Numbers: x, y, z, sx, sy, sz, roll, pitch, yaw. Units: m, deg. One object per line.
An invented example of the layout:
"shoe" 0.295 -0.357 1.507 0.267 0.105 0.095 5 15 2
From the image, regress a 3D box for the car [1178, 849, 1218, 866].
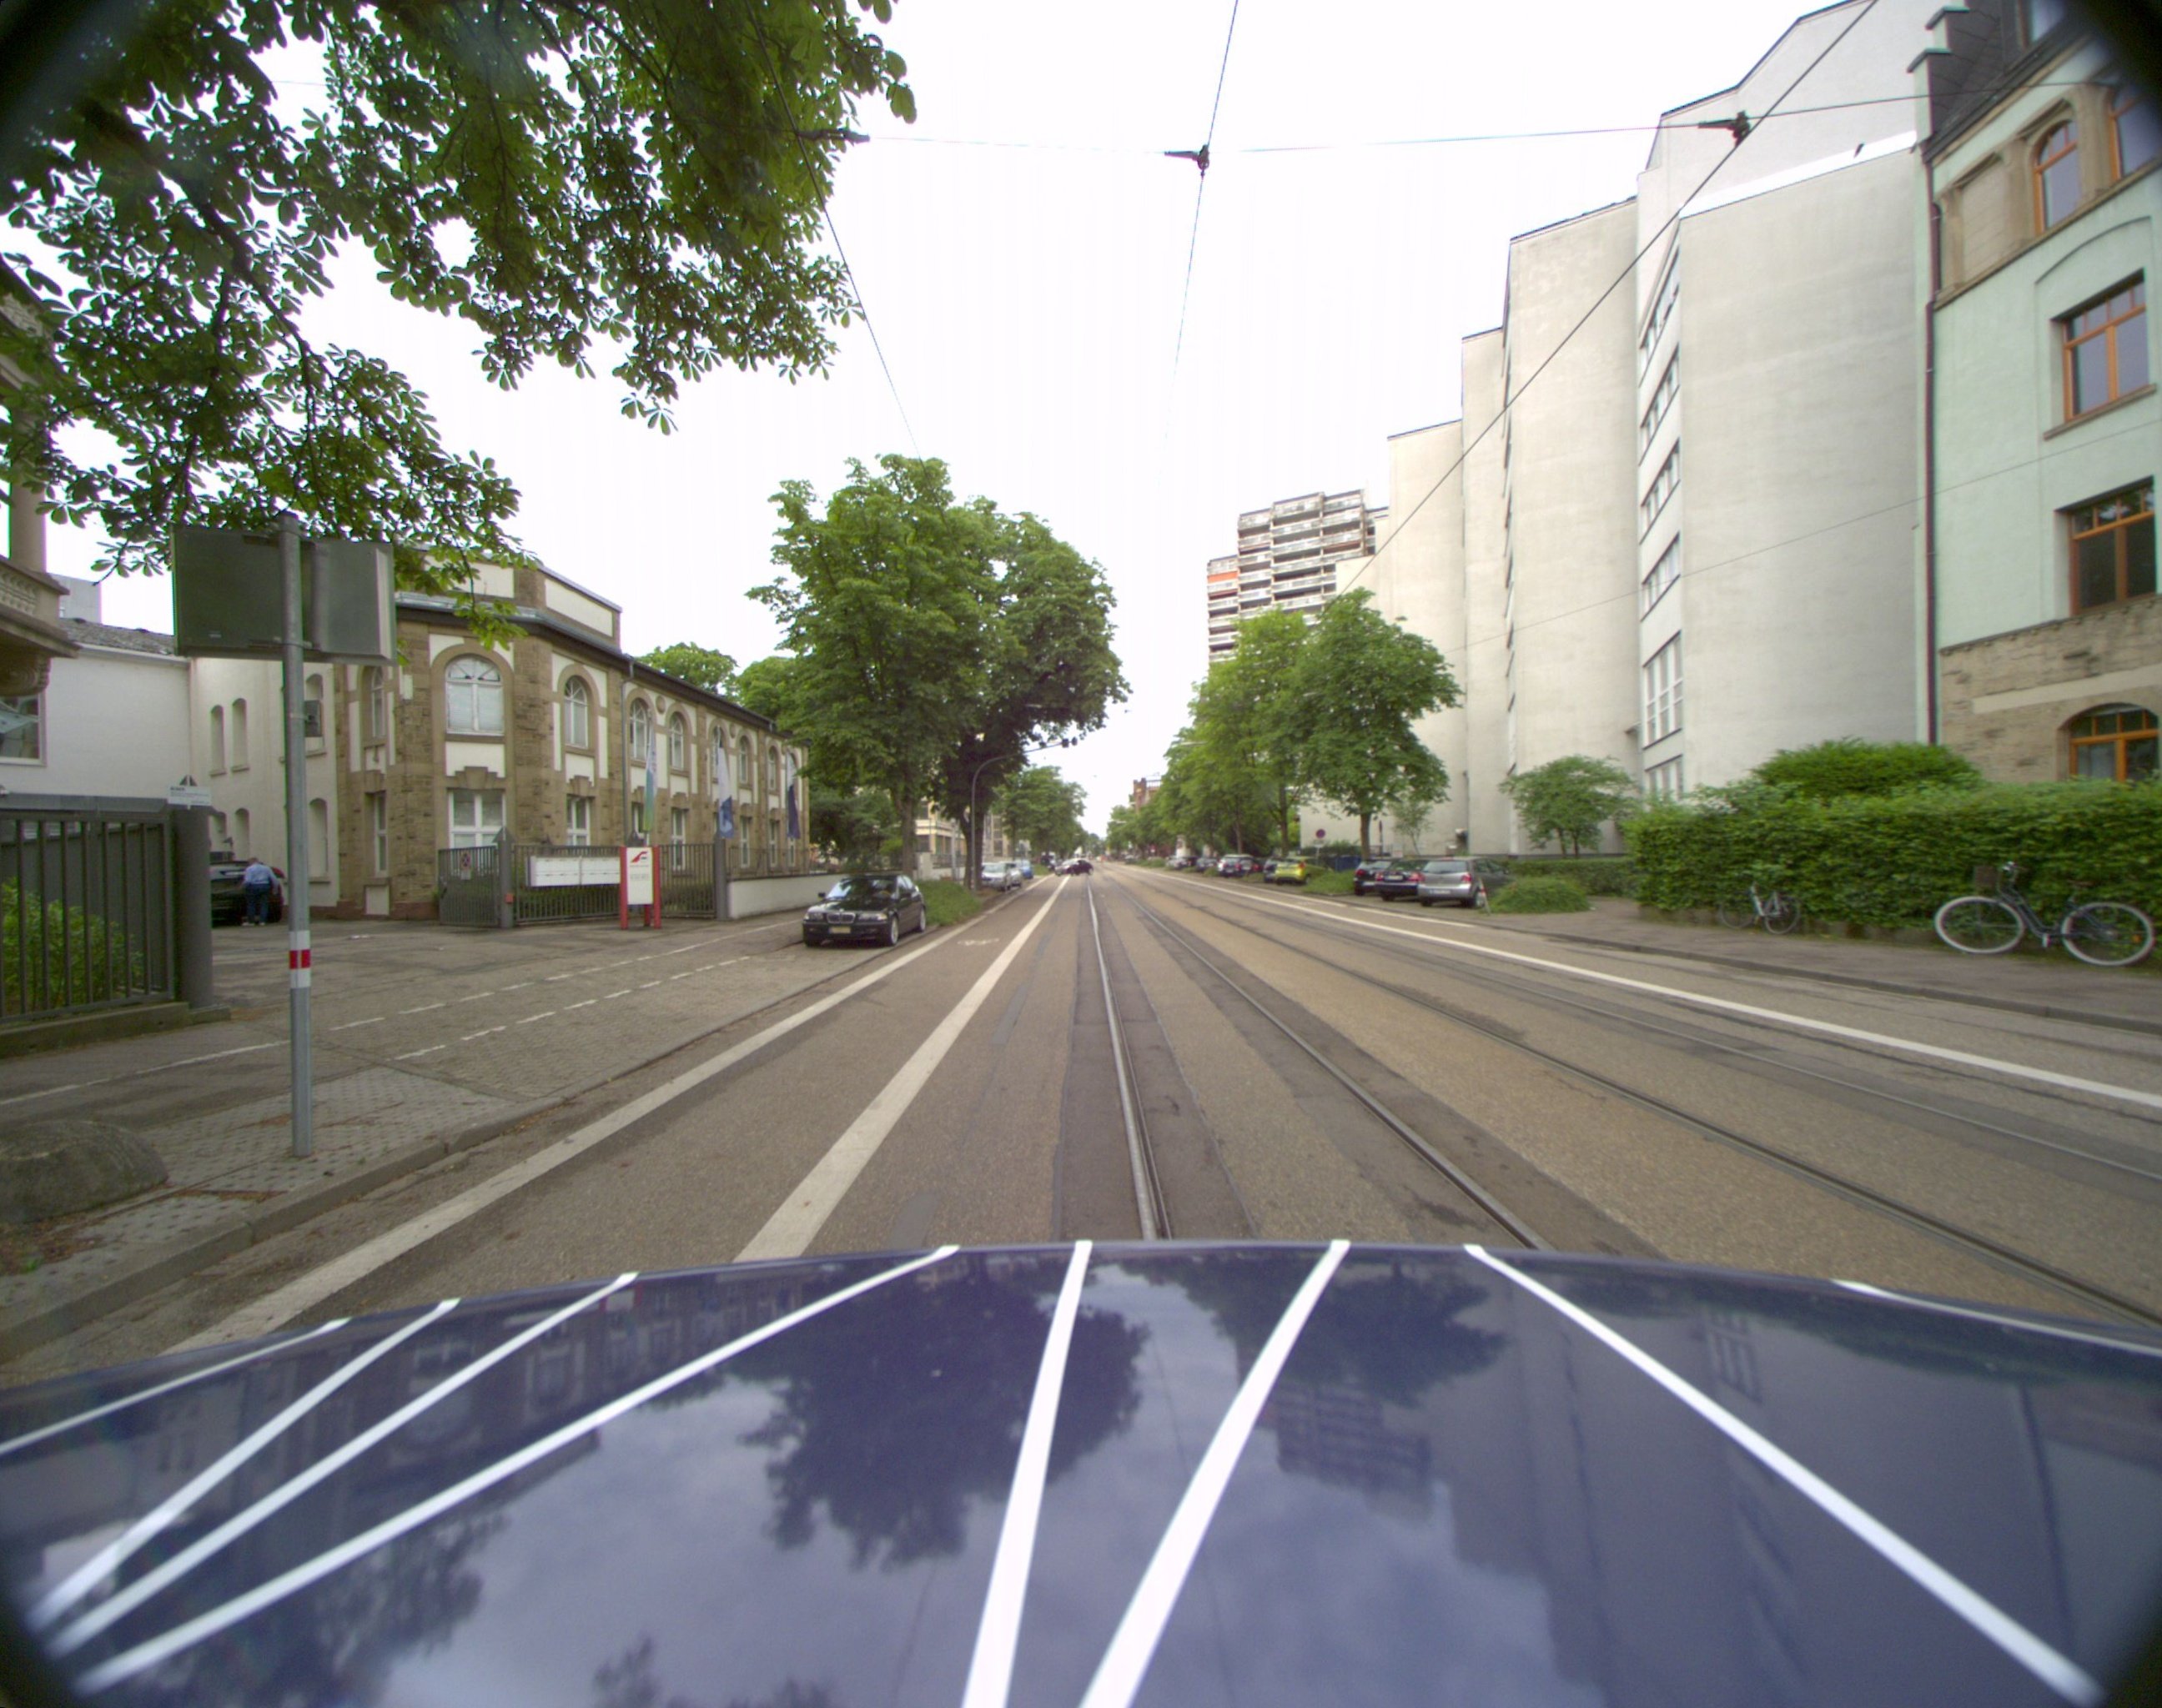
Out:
"car" 11.488 0.352 74.383 4.008 1.611 1.690 -1 0 -43

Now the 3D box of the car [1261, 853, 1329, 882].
"car" 11.690 0.711 41.411 4.008 1.434 1.690 -1 0 -43

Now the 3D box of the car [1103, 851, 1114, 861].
"car" 4.722 0.329 131.282 1.723 1.691 3.372 -1 0 1

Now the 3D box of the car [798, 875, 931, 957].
"car" -4.333 1.188 15.804 1.606 1.362 3.837 1 0 1

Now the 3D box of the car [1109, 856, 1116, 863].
"car" 9.347 1.664 227.880 1.906 2.002 3.999 -2 1 1

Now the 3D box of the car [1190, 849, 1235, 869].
"car" 11.320 0.448 65.079 4.008 1.611 1.690 -1 0 -43

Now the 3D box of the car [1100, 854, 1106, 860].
"car" 6.997 0.952 247.254 1.808 2.002 3.999 -2 1 1

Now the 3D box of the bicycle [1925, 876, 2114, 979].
"bicycle" 11.124 0.822 9.083 0.360 1.077 1.546 -1 0 0

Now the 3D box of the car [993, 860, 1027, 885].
"car" -4.206 1.078 45.517 1.606 1.416 3.837 1 0 1

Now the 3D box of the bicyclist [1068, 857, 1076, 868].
"bicyclist" -1.006 0.961 87.314 0.875 1.247 0.752 -1 1 -6

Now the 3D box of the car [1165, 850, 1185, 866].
"car" 10.470 0.431 84.687 1.694 1.611 3.999 -1 0 -1

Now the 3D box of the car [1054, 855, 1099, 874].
"car" -0.388 0.881 65.073 3.784 1.427 1.603 -3 0 -45

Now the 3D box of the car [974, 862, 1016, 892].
"car" -4.280 1.115 38.378 1.606 1.362 3.837 1 0 1

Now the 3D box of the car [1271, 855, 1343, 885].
"car" 11.442 0.756 38.363 4.008 1.387 1.690 -1 0 -43

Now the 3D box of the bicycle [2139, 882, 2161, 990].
"bicycle" 11.050 0.825 7.033 0.360 1.077 1.546 -1 0 0

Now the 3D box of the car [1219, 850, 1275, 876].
"car" 11.218 0.592 51.139 4.008 1.611 1.690 -1 0 -43

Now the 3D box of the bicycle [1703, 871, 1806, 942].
"bicycle" 11.168 0.838 12.654 0.360 1.077 1.546 -1 0 0

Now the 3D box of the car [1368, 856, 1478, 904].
"car" 11.315 0.808 25.024 4.008 1.395 1.691 -1 0 -39

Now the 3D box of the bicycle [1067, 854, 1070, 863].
"bicycle" -1.693 0.614 104.505 0.414 1.197 1.707 -1 0 1

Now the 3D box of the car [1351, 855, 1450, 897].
"car" 11.875 0.778 28.128 4.008 1.395 1.691 -1 0 -39

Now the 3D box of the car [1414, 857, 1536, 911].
"car" 11.528 0.813 22.131 4.008 1.395 1.691 -1 0 -39

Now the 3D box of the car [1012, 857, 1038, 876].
"car" -4.235 0.919 58.030 1.606 1.362 3.837 1 0 1

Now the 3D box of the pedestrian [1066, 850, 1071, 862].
"pedestrian" -1.708 0.286 104.391 0.684 1.541 0.704 -1 1 1
